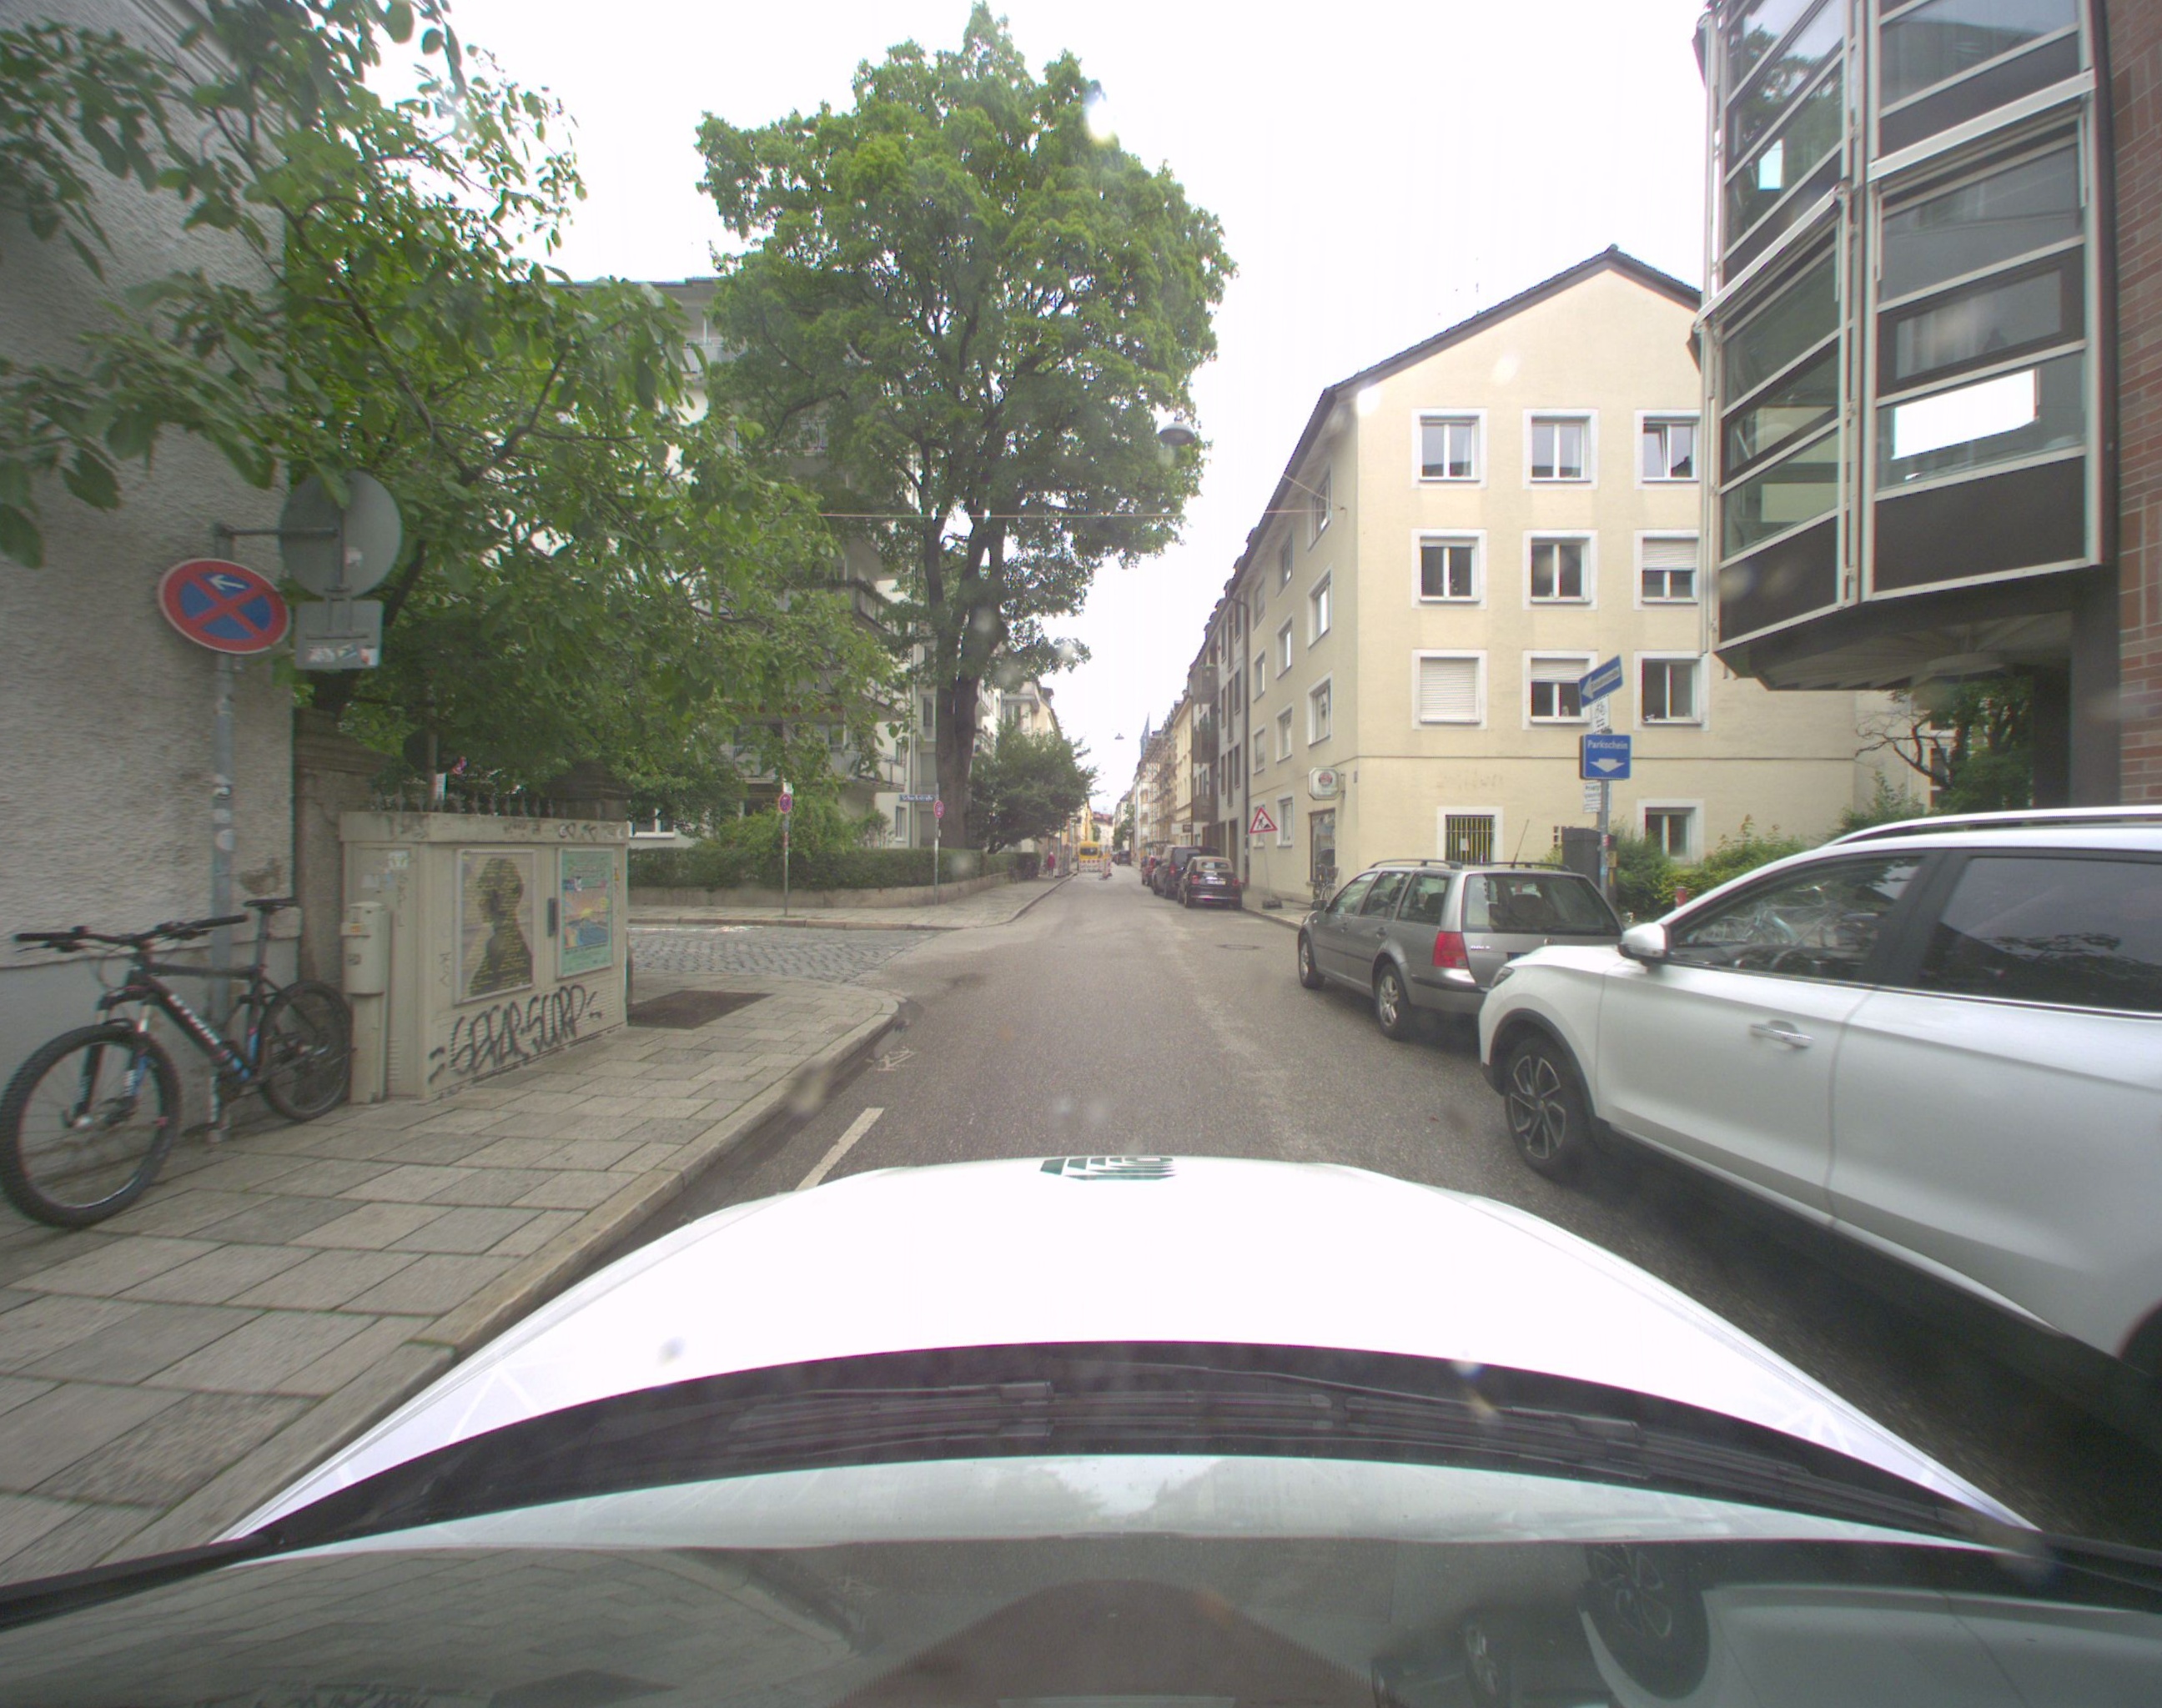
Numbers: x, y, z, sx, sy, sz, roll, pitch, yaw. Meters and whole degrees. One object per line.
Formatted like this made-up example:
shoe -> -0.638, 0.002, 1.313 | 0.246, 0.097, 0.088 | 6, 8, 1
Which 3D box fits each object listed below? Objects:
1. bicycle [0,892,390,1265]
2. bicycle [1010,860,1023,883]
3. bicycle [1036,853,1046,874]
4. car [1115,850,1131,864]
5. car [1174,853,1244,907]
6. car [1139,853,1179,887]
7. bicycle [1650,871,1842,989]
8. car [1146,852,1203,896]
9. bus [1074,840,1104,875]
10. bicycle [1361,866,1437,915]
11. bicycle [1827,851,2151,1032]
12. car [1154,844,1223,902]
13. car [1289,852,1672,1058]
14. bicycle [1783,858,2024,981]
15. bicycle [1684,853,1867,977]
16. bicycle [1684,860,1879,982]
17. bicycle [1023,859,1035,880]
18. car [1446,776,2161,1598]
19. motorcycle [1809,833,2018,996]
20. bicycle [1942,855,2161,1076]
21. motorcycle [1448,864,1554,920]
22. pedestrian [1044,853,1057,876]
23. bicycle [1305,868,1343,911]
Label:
bicycle -> -3.712, 0.763, 3.465 | 0.474, 1.111, 1.751 | 1, 0, -16
bicycle -> -2.957, 0.798, 37.346 | 0.413, 1.020, 1.854 | -1, -1, 1
bicycle -> -2.751, 0.634, 55.693 | 0.512, 1.418, 1.934 | -1, -1, 1
car -> 5.471, 0.426, 106.686 | 1.795, 1.712, 3.826 | 4, 0, 0
car -> 3.788, 0.714, 24.644 | 1.618, 1.487, 3.810 | 1, 0, 2
car -> 3.890, 0.765, 40.892 | 1.630, 1.515, 3.830 | 4, 0, 1
bicycle -> 6.926, 0.747, 8.570 | 0.380, 1.080, 1.539 | 1, 0, -27
car -> 3.724, 0.764, 33.104 | 1.795, 1.568, 4.000 | 4, 0, 0
bus -> 0.834, 0.320, 74.710 | 2.583, 3.102, 6.308 | -1, 0, 2
bicycle -> 7.189, 0.813, 18.443 | 1.531, 1.026, 0.475 | -2, 0, -1
bicycle -> 6.920, 0.629, 6.307 | 1.623, 1.276, 0.382 | -1, -1, 28
car -> 3.738, 0.616, 29.008 | 1.796, 1.820, 3.999 | 4, 0, -1
car -> 3.364, 0.719, 7.812 | 1.739, 1.445, 4.000 | 1, 0, 0
bicycle -> 8.906, 0.647, 8.926 | 0.505, 1.190, 1.817 | 1, 0, -20
bicycle -> 7.770, 0.633, 9.187 | 0.380, 1.276, 1.539 | 1, 0, -27
bicycle -> 7.364, 0.654, 8.644 | 0.380, 1.159, 1.539 | 1, 0, -27
bicycle -> -2.733, 0.810, 42.882 | 0.444, 1.073, 2.467 | -1, 0, 0
car -> 3.000, 0.655, 2.613 | 1.743, 1.630, 4.195 | 0, 0, -1
motorcycle -> 7.692, 0.544, 7.551 | 1.467, 1.420, 0.472 | -1, 0, -2
bicycle -> 6.471, 0.650, 5.171 | 0.377, 1.276, 1.553 | -1, -1, 2
motorcycle -> 8.905, 0.774, 17.346 | 0.626, 1.108, 1.905 | 1, 0, -41
pedestrian -> -2.000, 0.703, 53.105 | 0.753, 1.491, 0.831 | -1, -1, 1
bicycle -> 6.109, 0.872, 20.545 | 0.472, 1.026, 1.706 | -2, -1, 2
